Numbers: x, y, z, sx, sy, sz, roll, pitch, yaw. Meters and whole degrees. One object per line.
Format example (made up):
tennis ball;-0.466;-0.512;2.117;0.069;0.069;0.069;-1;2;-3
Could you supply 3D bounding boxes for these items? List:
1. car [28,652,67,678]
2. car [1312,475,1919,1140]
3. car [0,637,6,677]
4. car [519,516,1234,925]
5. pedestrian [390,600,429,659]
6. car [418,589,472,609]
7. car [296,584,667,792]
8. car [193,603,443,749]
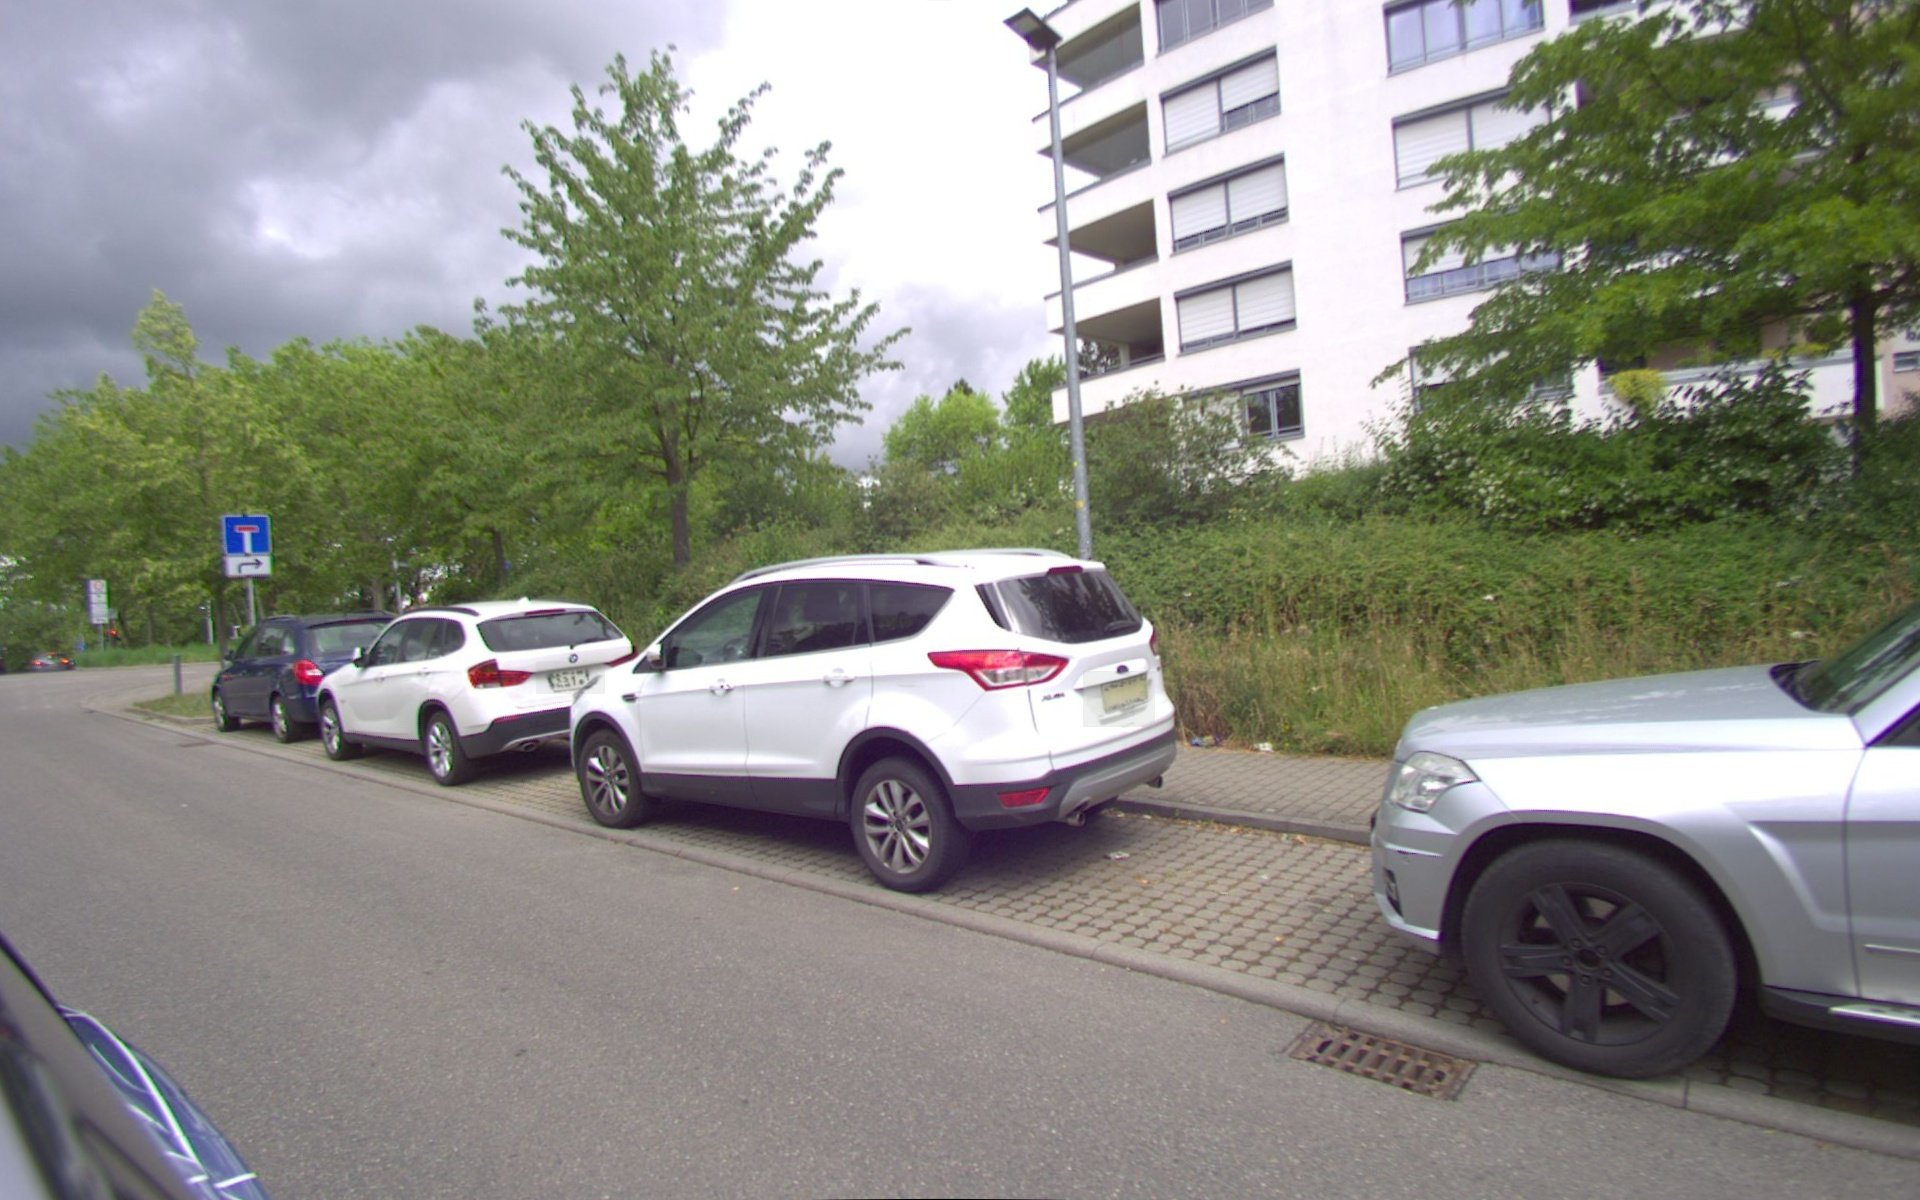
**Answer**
car;-59.147;4.179;65.573;1.734;1.527;4.003;-3;0;-44
car;3.489;0.410;2.593;4.476;1.627;1.781;-3;3;41
car;-39.979;2.280;40.510;4.160;1.595;1.878;-3;-5;37
car;-0.791;0.539;6.350;4.434;1.676;1.789;-3;2;41
pedestrian;-15.797;0.835;29.044;0.718;1.623;0.627;-6;-2;33
car;-41.671;-0.091;81.975;1.640;1.475;3.979;-3;0;16
car;-4.853;0.767;9.970;4.228;1.522;1.673;-3;3;41
car;-8.517;0.931;13.290;3.952;1.498;1.672;-3;3;42
